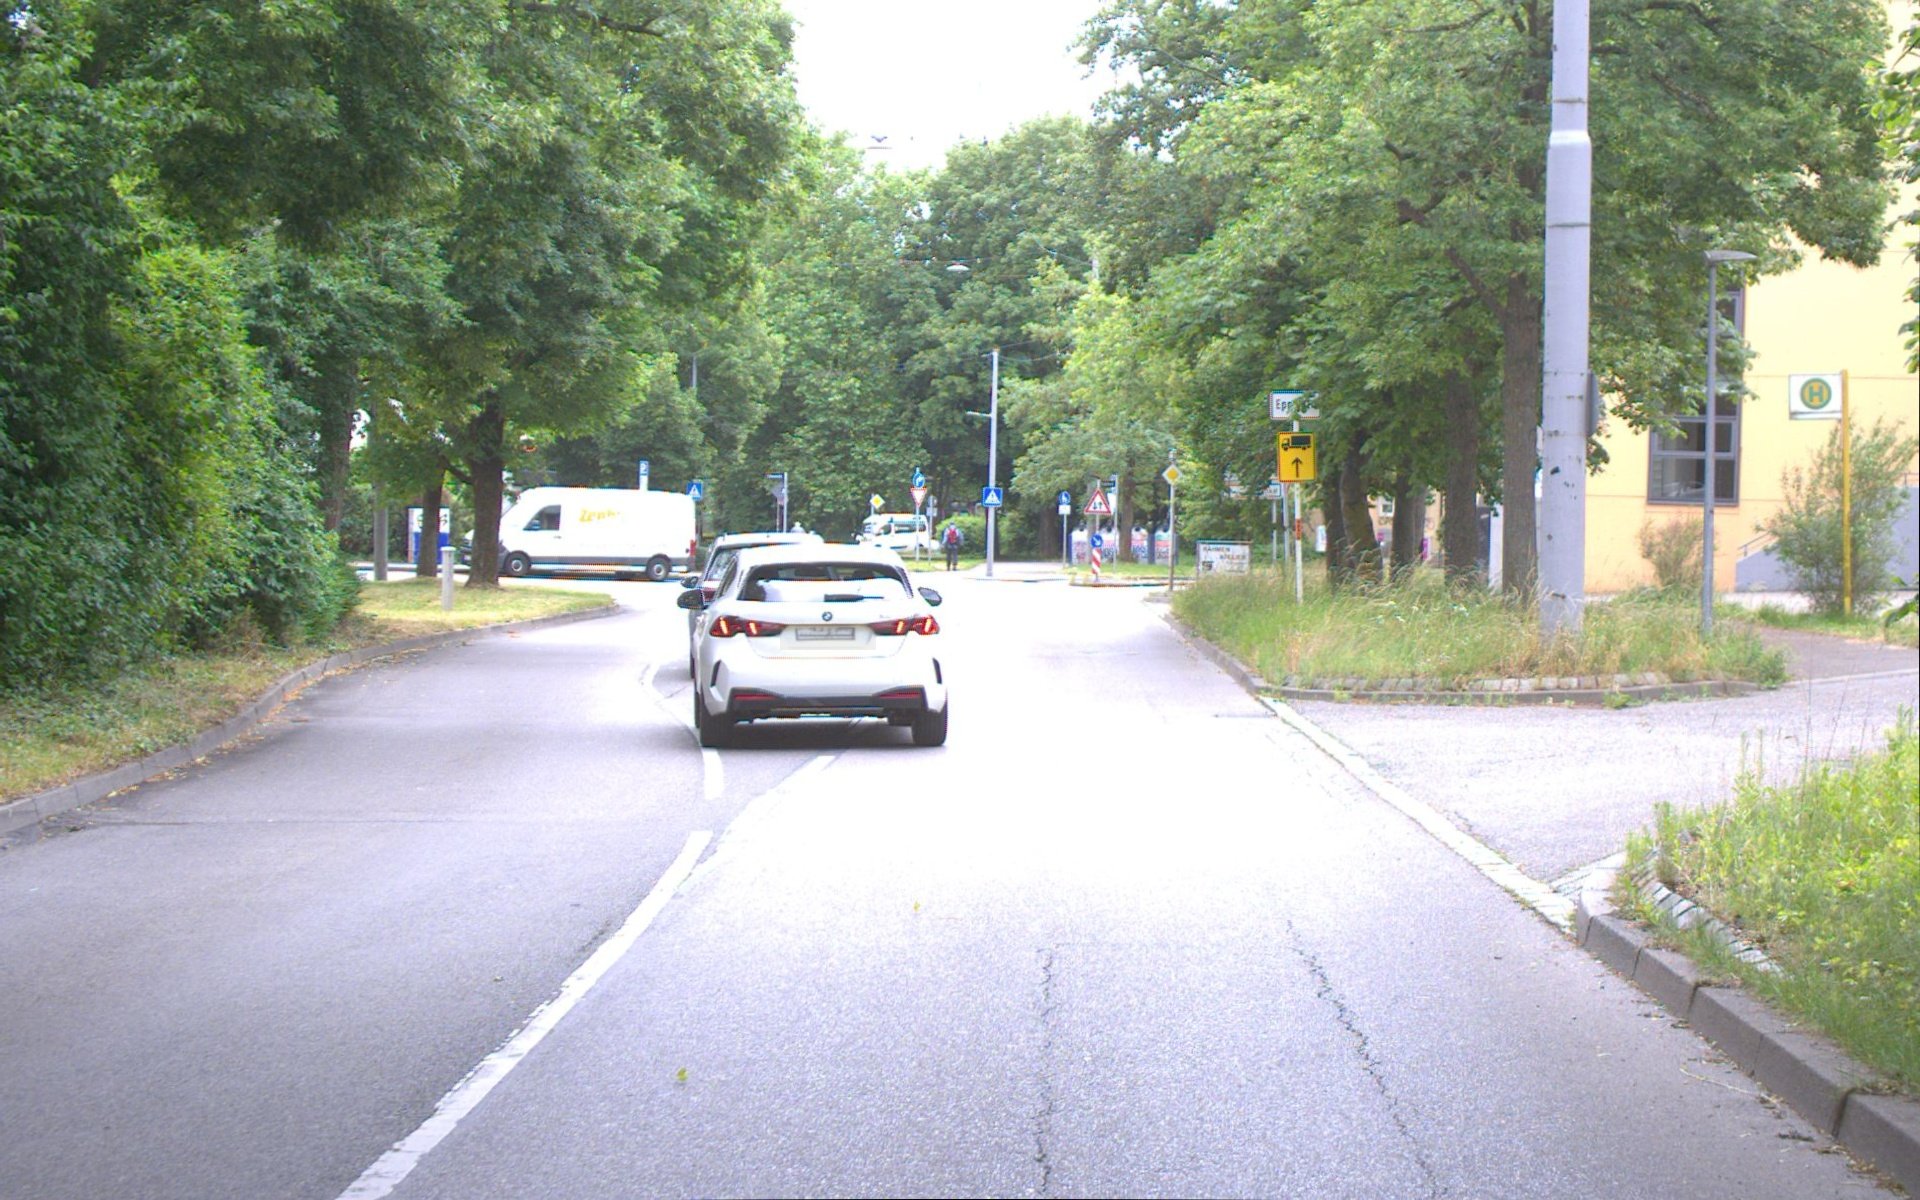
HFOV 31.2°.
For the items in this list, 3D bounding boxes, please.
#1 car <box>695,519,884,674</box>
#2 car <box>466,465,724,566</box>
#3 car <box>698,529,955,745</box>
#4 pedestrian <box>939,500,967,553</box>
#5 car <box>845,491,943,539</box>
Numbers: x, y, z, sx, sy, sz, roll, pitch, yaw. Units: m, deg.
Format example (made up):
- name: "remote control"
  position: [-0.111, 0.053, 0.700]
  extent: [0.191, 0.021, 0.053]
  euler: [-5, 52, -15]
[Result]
- name: "car"
  position: [-1.852, -0.080, 38.420]
  extent: [1.923, 1.568, 4.001]
  euler: [1, 2, -1]
- name: "car"
  position: [-10.231, -2.362, 96.764]
  extent: [6.958, 2.513, 2.085]
  euler: [1, 3, -35]
- name: "car"
  position: [-0.960, 0.216, 26.236]
  extent: [1.795, 1.512, 4.207]
  euler: [0, 1, -1]
- name: "pedestrian"
  position: [-0.260, -2.694, 126.172]
  extent: [0.923, 1.865, 1.019]
  euler: [-2, 4, -2]
- name: "car"
  position: [-3.590, -4.641, 188.128]
  extent: [2.136, 2.289, 5.372]
  euler: [6, 3, 41]
